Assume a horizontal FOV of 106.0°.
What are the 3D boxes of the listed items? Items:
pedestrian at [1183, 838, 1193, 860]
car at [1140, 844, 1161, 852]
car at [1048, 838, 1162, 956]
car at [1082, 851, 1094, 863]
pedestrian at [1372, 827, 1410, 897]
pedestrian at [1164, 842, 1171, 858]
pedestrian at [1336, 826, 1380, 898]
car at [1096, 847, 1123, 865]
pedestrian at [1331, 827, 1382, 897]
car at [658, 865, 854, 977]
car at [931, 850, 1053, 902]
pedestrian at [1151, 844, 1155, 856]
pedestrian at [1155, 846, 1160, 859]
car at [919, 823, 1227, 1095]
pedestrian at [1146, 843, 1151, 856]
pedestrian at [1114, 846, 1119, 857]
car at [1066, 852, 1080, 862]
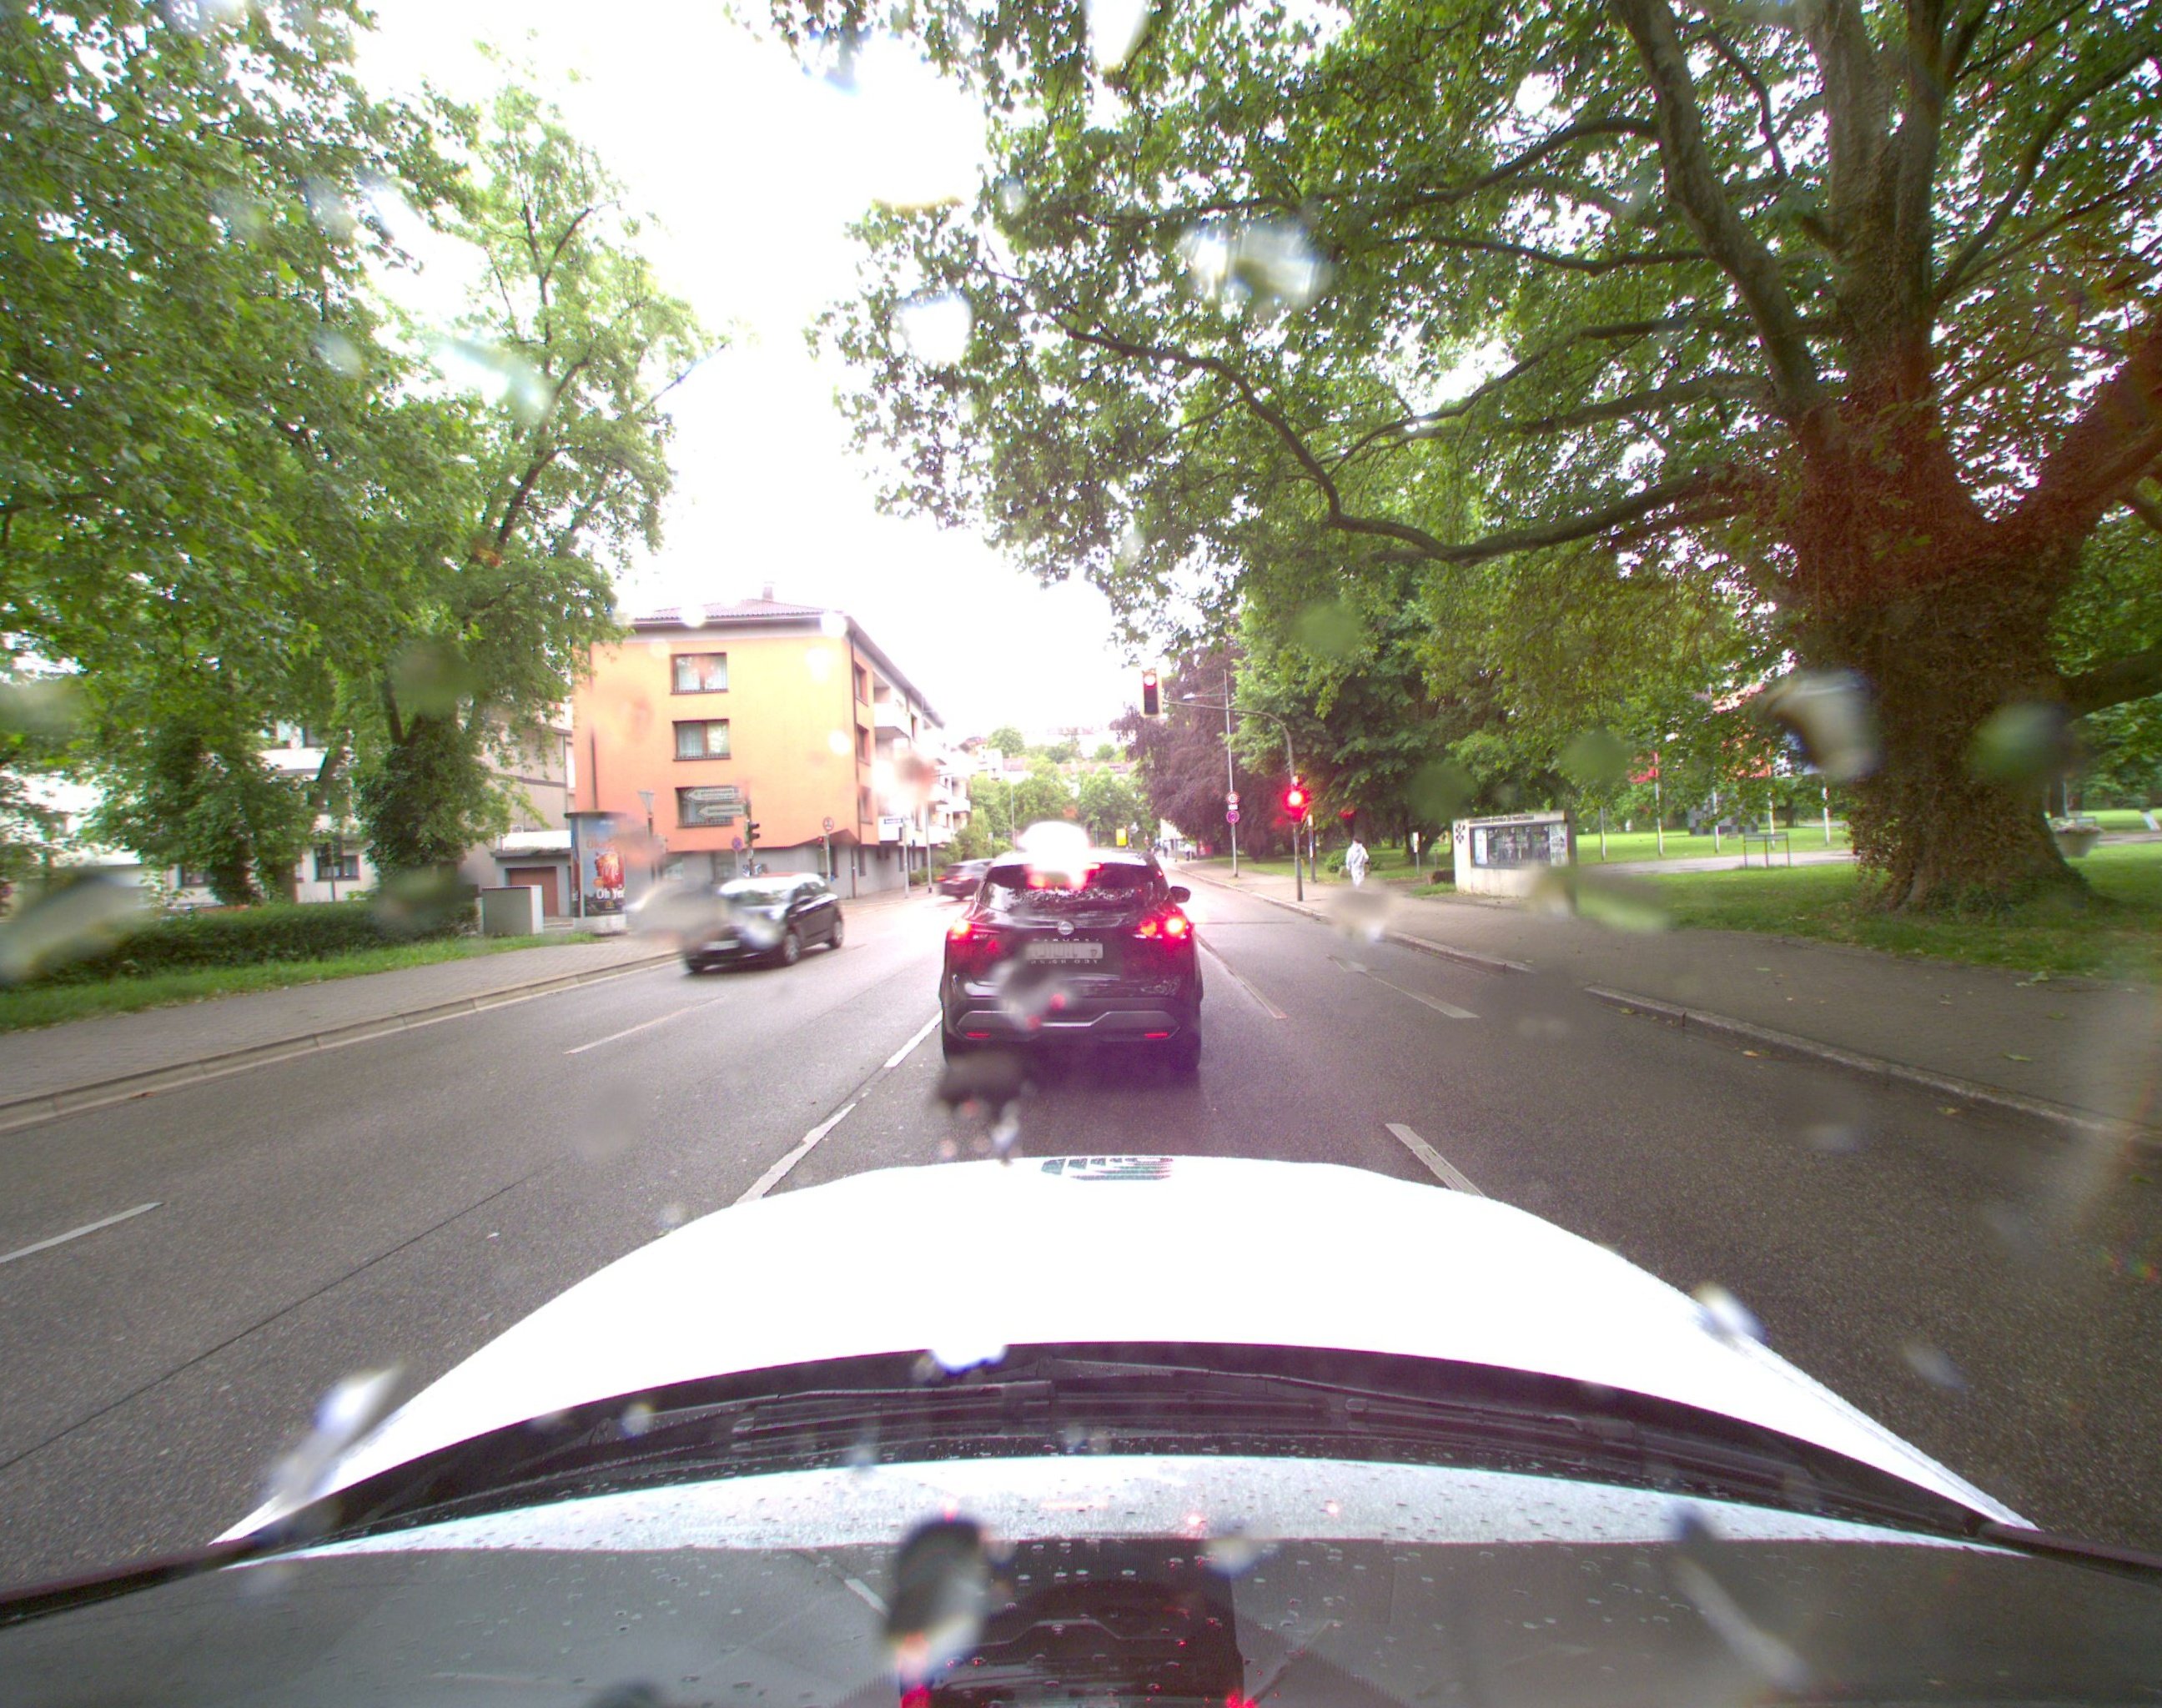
[{"bbox_3d":[9.813,-0.459,74.568,0.722,2.013,0.852,-3,0,2],"label":"pedestrian"},{"bbox_3d":[14.102,-1.229,165.240,4.016,1.735,1.979,0,-1,-34],"label":"car"},{"bbox_3d":[0.435,0.668,14.554,1.692,1.745,3.642,-3,0,2],"label":"car"},{"bbox_3d":[1.026,0.400,118.144,1.628,1.532,3.969,-3,0,2],"label":"car"},{"bbox_3d":[8.744,0.219,22.940,0.649,1.876,1.045,-5,0,32],"label":"pedestrian"},{"bbox_3d":[10.189,-0.453,95.883,0.504,1.802,0.623,-3,0,21],"label":"pedestrian"},{"bbox_3d":[7.595,0.219,22.314,0.649,1.876,1.045,-5,0,41],"label":"pedestrian"},{"bbox_3d":[2.411,0.180,69.647,1.822,1.403,4.645,-4,0,-3],"label":"car"},{"bbox_3d":[7.800,0.223,23.062,1.035,1.876,0.656,-5,0,-9],"label":"pedestrian"},{"bbox_3d":[-5.422,1.031,14.170,1.790,1.533,3.866,-3,0,-1],"label":"car"},{"bbox_3d":[-3.351,0.810,31.164,4.337,1.678,1.707,-3,0,-41],"label":"car"},{"bbox_3d":[10.261,-0.566,115.781,0.506,1.802,0.660,-3,0,4],"label":"pedestrian"},{"bbox_3d":[10.766,-0.237,114.627,0.507,1.802,0.619,-3,0,0],"label":"pedestrian"},{"bbox_3d":[0.014,0.658,7.120,1.906,1.680,4.002,-1,0,2],"label":"car"},{"bbox_3d":[9.562,-0.620,115.579,0.506,1.802,0.620,-3,0,1],"label":"pedestrian"},{"bbox_3d":[5.958,-0.398,135.183,0.503,1.673,0.663,-3,0,29],"label":"pedestrian"},{"bbox_3d":[-1.294,0.454,132.183,1.963,1.532,3.969,-3,0,2],"label":"car"}]
